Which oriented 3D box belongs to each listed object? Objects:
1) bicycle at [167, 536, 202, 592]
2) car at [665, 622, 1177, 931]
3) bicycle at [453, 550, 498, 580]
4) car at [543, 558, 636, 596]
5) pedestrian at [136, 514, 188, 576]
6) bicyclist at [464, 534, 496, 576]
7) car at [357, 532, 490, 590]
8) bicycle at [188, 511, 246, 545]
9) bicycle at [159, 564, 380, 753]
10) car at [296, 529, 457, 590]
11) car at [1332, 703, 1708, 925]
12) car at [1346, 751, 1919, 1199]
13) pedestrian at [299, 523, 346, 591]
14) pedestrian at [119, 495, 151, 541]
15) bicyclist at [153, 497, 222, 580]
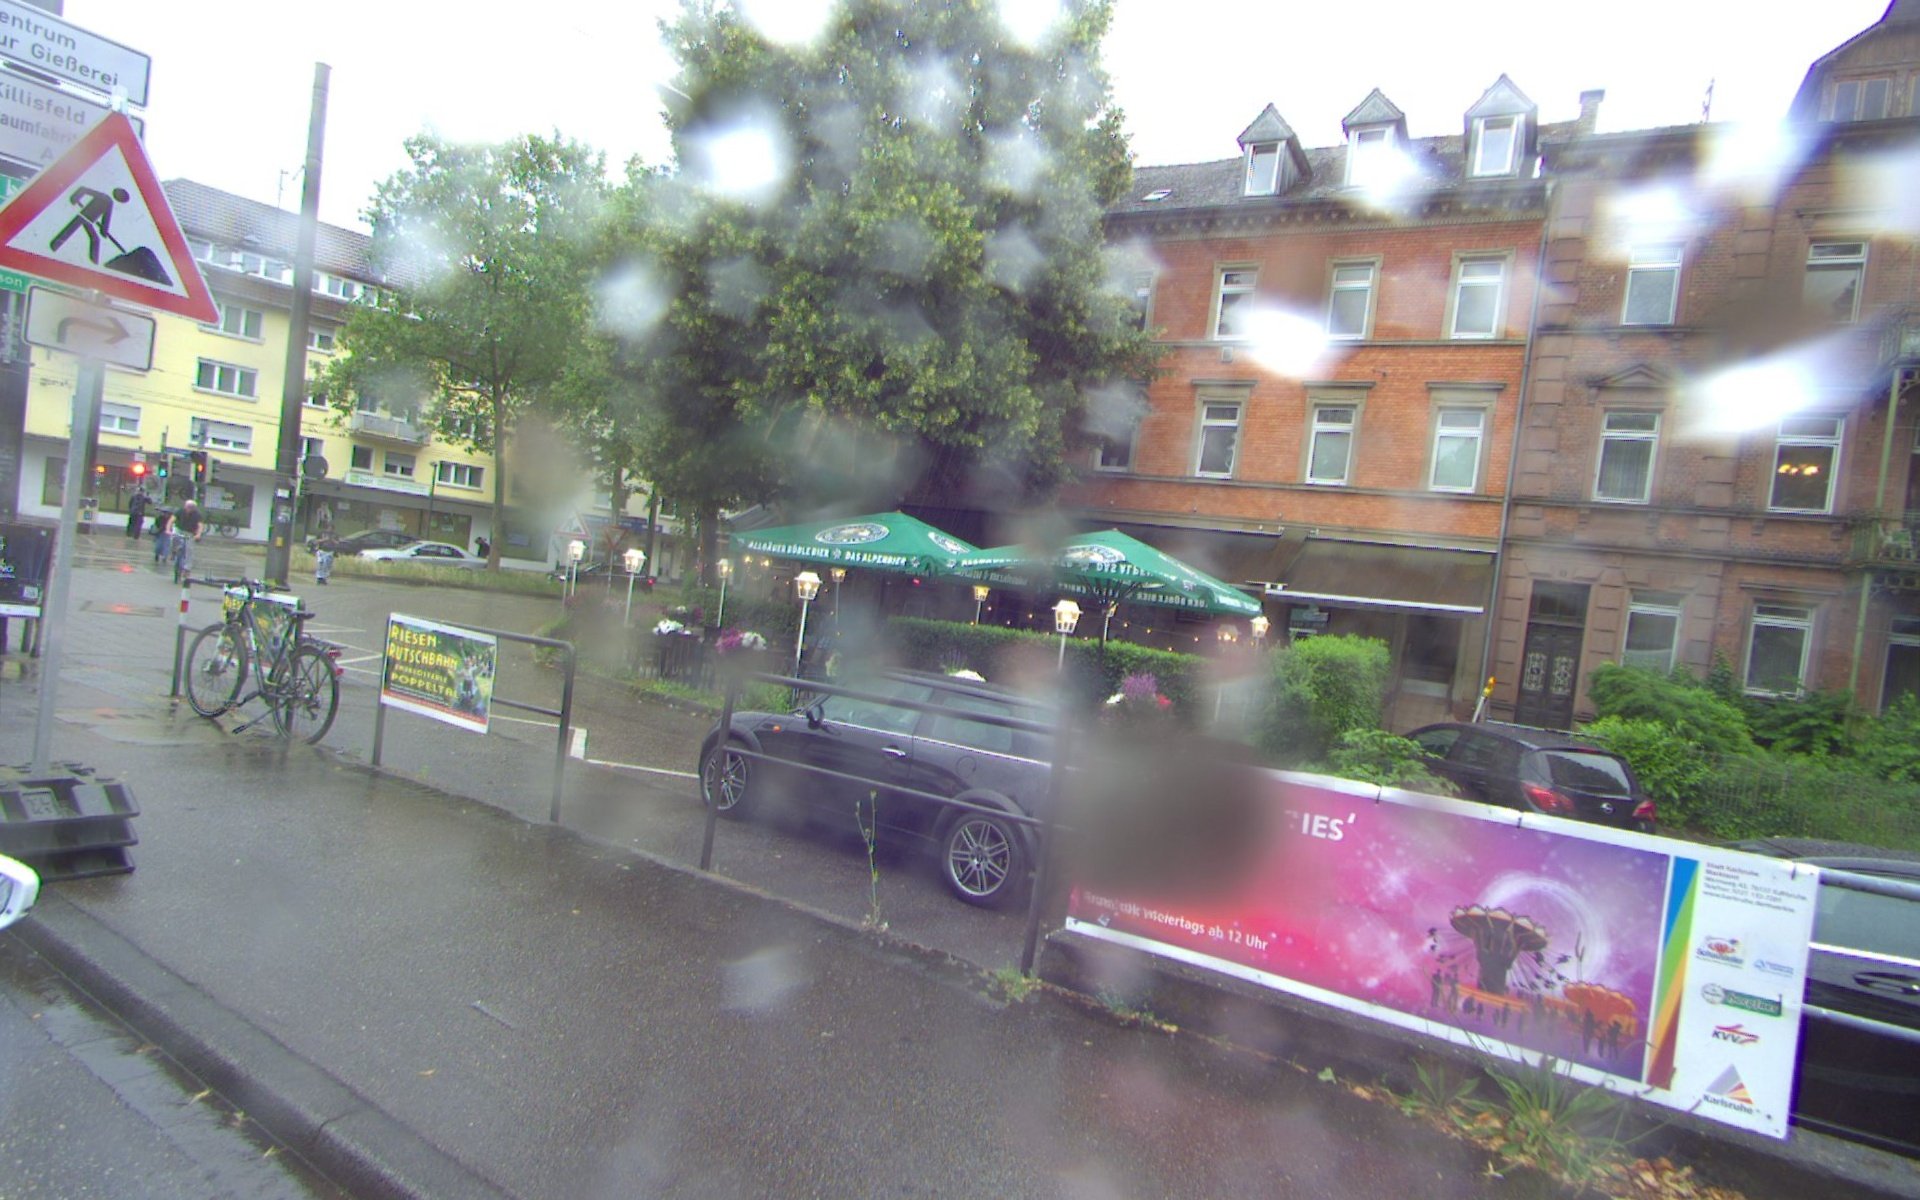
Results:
[{"bbox_3d":[-16.519,-0.787,21.438,0.456,1.040,1.882,7,0,-37],"label":"bicycle"},{"bbox_3d":[-0.360,1.215,7.810,3.468,1.457,1.710,8,-3,34],"label":"car"},{"bbox_3d":[-20.064,-1.437,41.687,0.415,1.013,1.640,7,-1,32],"label":"bicycle"},{"bbox_3d":[-15.514,-0.932,42.285,1.227,1.095,3.531,7,-2,34],"label":"car"},{"bbox_3d":[-21.418,-1.460,27.025,0.612,1.552,0.816,7,0,-6],"label":"pedestrian"},{"bbox_3d":[-19.943,-1.866,41.790,0.699,1.634,0.815,7,0,32],"label":"bicyclist"},{"bbox_3d":[-19.823,-1.417,37.223,3.926,1.508,1.784,8,0,-43],"label":"car"},{"bbox_3d":[-35.607,-3.434,48.208,2.096,1.277,0.525,8,0,-44],"label":"bicycle"},{"bbox_3d":[-5.185,0.403,7.508,1.984,1.119,0.515,7,-3,34],"label":"bicycle"},{"bbox_3d":[-22.451,-1.519,38.834,1.975,1.661,4.928,3,-4,43],"label":"car"},{"bbox_3d":[6.513,2.416,12.331,1.965,1.733,3.998,7,-1,-5],"label":"car"},{"bbox_3d":[4.188,1.824,4.968,3.907,1.416,1.706,7,-1,32],"label":"car"},{"bbox_3d":[-17.361,-1.168,27.437,0.898,1.689,1.011,7,-1,-32],"label":"pedestrian"},{"bbox_3d":[-29.464,-2.913,35.948,0.615,1.518,0.549,7,0,-25],"label":"pedestrian"},{"bbox_3d":[-16.430,-1.304,21.401,0.848,1.602,0.877,7,-1,42],"label":"bicyclist"}]
